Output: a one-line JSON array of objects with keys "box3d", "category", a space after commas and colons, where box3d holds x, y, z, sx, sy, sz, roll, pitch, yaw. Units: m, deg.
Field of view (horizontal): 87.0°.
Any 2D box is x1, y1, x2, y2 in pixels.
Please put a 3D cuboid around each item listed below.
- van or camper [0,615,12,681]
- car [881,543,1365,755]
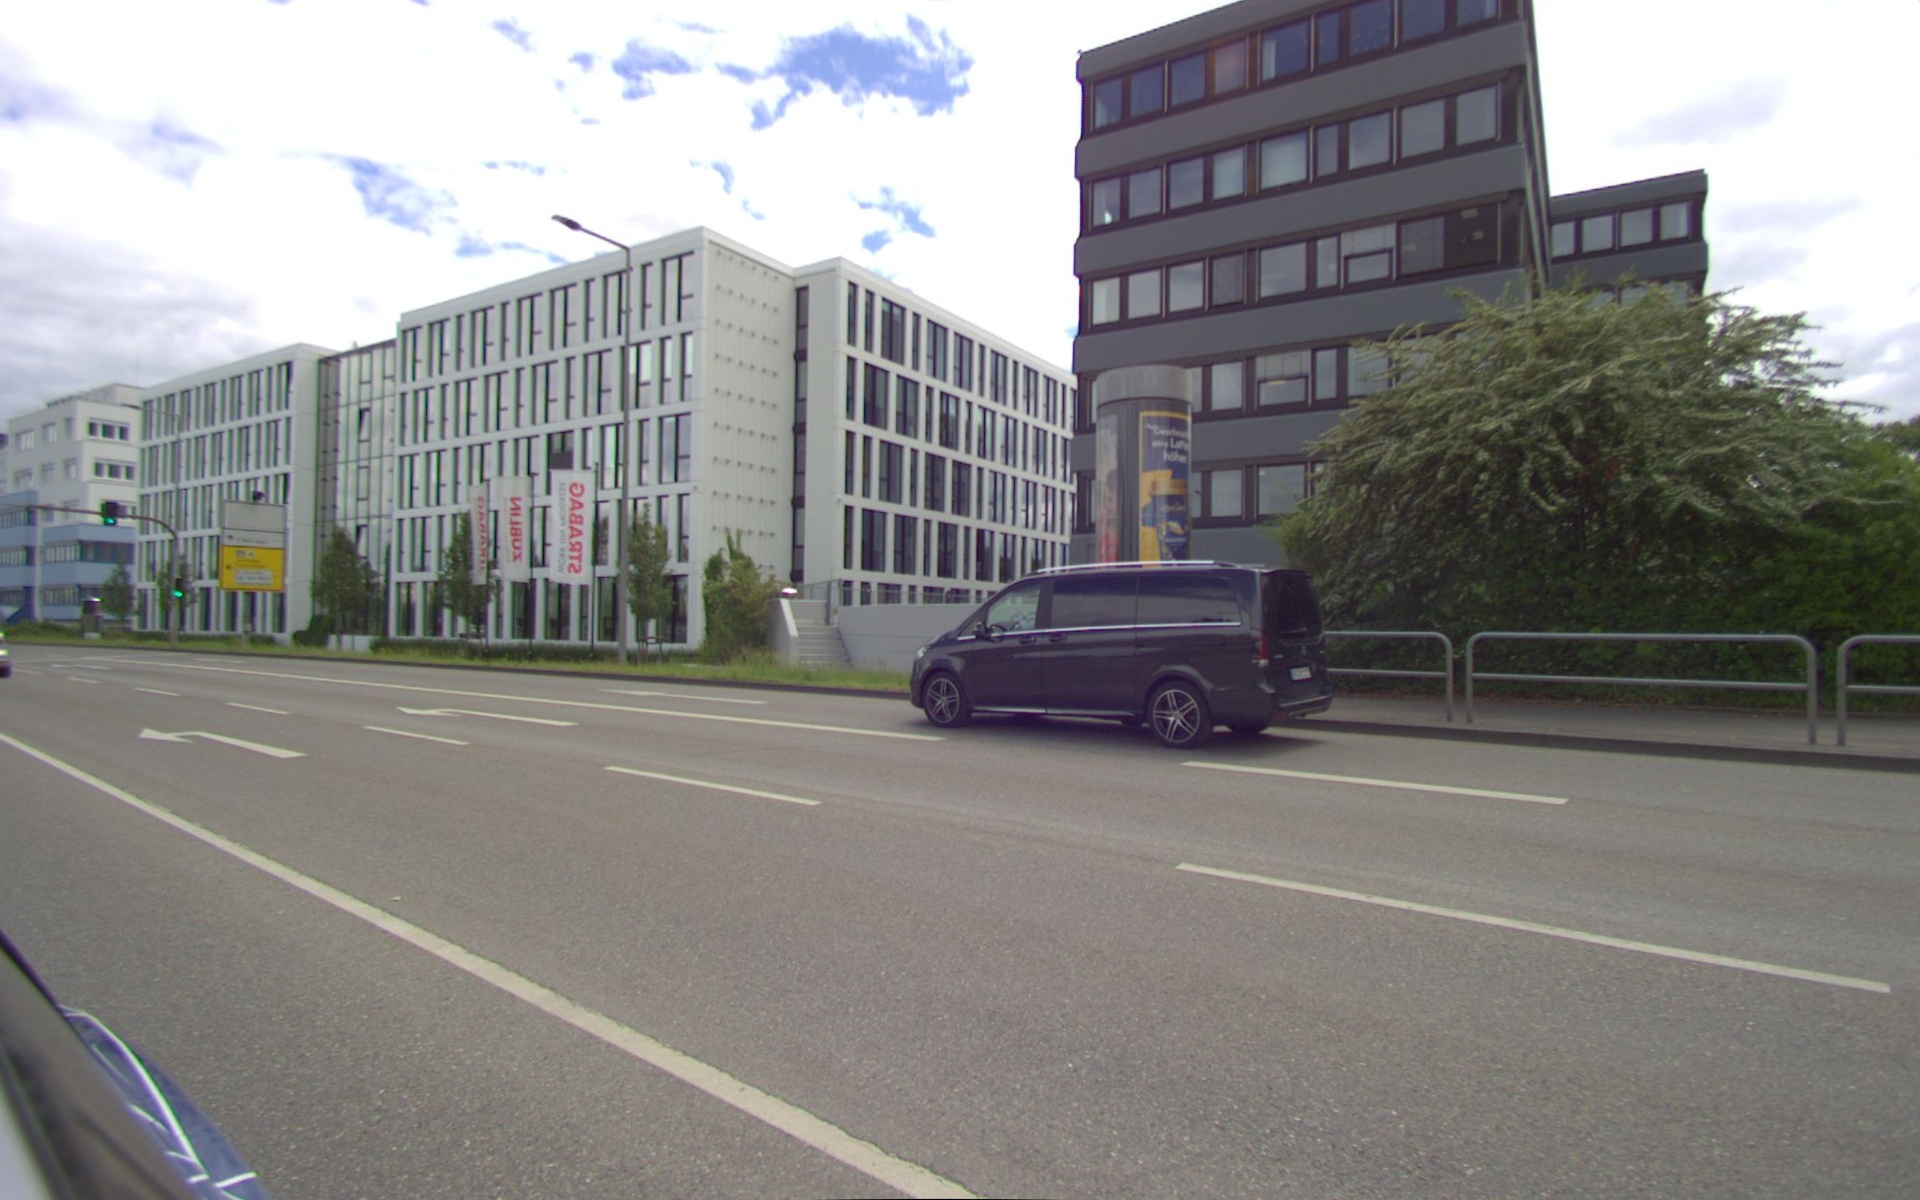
[{"box3d": [-25.558, 1.215, 25.604, 4.040, 1.622, 1.727, -1, -1, 38], "category": "van or camper"}, {"box3d": [1.672, 0.515, 11.876, 5.361, 1.962, 1.997, -1, -2, 41], "category": "car"}]
